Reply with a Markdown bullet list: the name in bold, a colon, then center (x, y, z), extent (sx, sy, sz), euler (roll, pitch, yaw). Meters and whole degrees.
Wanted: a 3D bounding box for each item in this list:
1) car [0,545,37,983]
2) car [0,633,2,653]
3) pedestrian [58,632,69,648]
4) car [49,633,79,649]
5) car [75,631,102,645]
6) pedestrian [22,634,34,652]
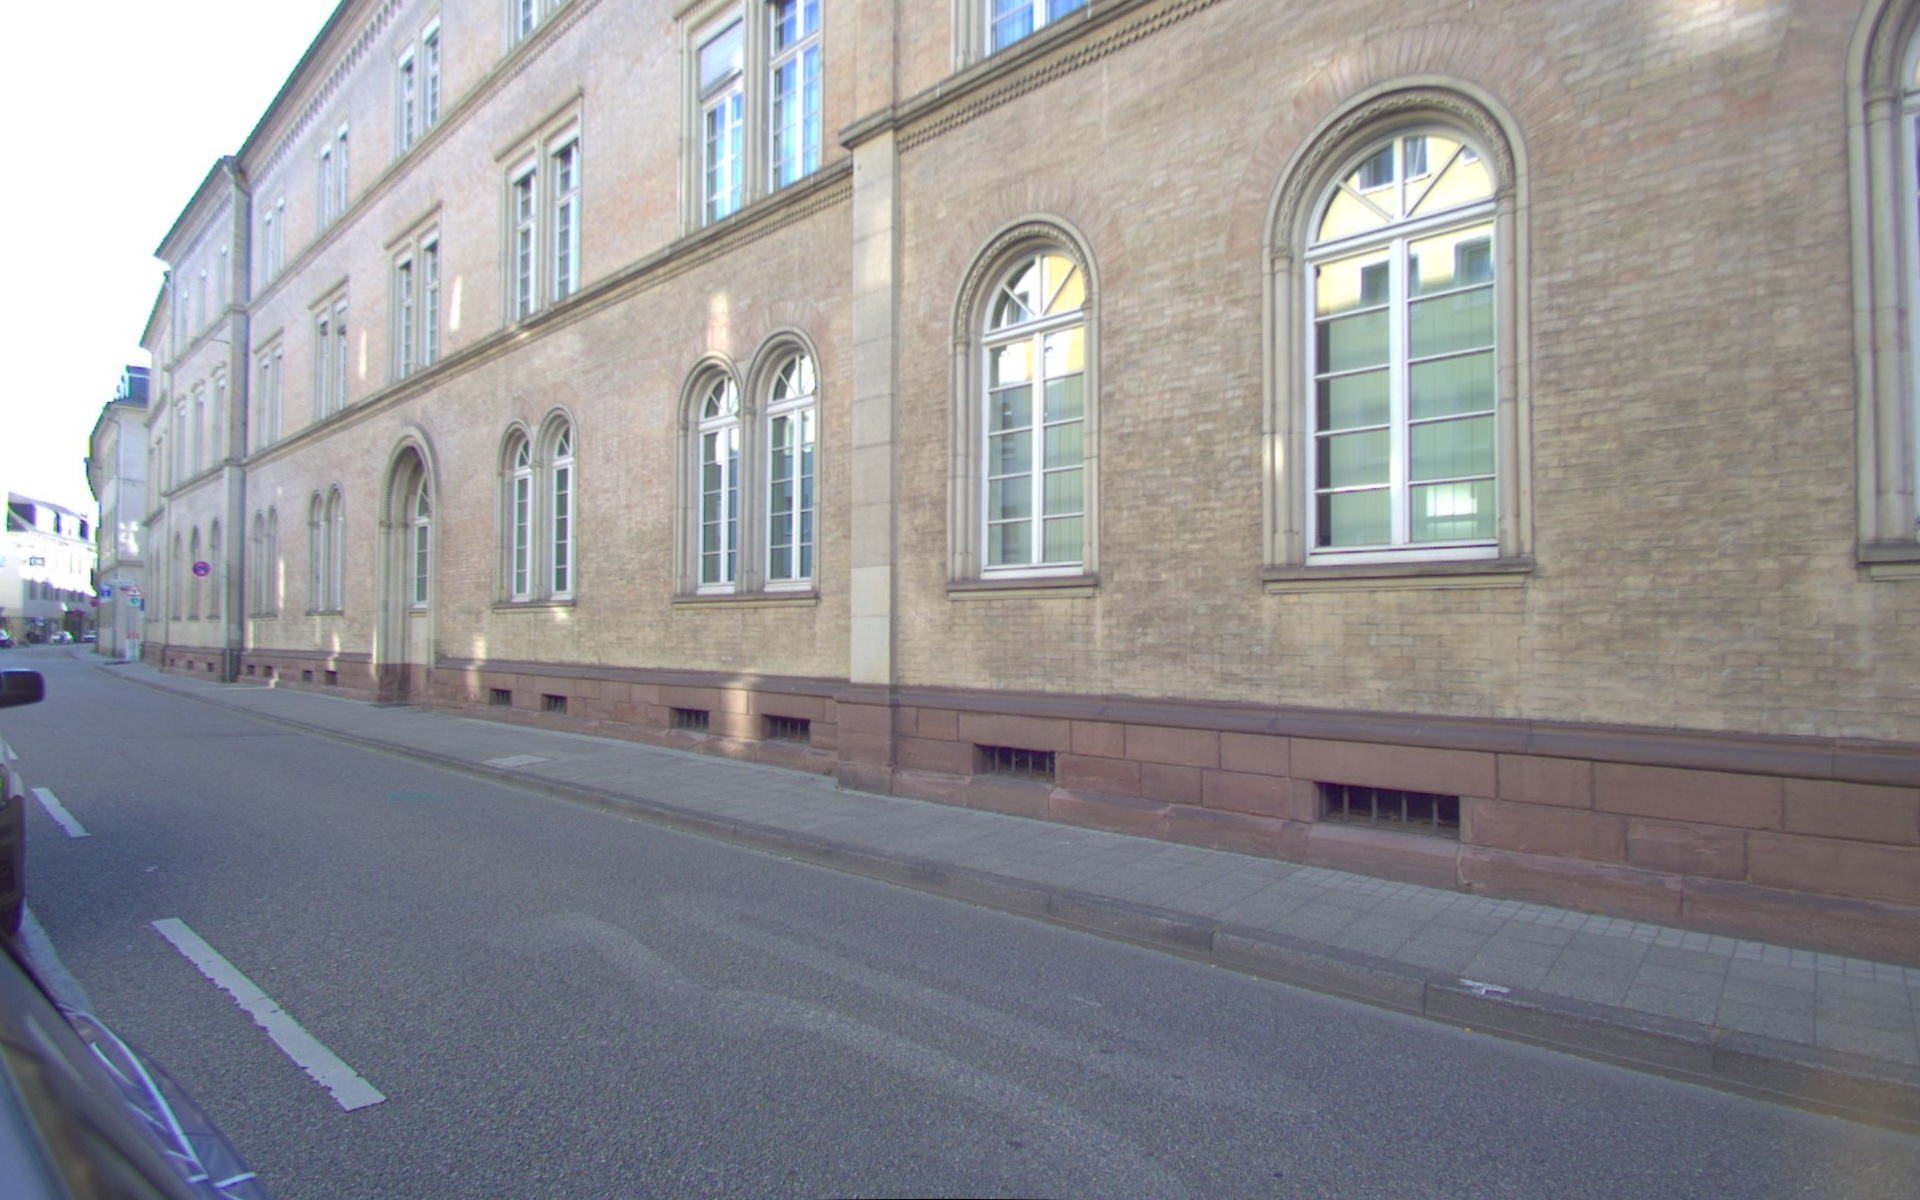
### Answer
- **car**: center (-6.427, 0.679, 5.307), extent (5.329, 1.784, 1.747), euler (-1, -2, 41)
- **car**: center (-86.610, 3.872, 89.949), extent (1.969, 1.665, 4.235), euler (-1, 0, -41)
- **pedestrian**: center (-95.889, 4.253, 108.274), extent (0.694, 1.648, 0.834), euler (5, -4, -36)
- **car**: center (-102.852, 4.656, 116.174), extent (1.966, 1.665, 4.240), euler (-1, 0, -33)
- **car**: center (-109.226, 4.731, 126.826), extent (1.966, 1.665, 4.240), euler (-1, 0, -33)
- **pedestrian**: center (-87.349, 4.006, 94.850), extent (0.694, 1.648, 0.834), euler (5, -4, -38)
